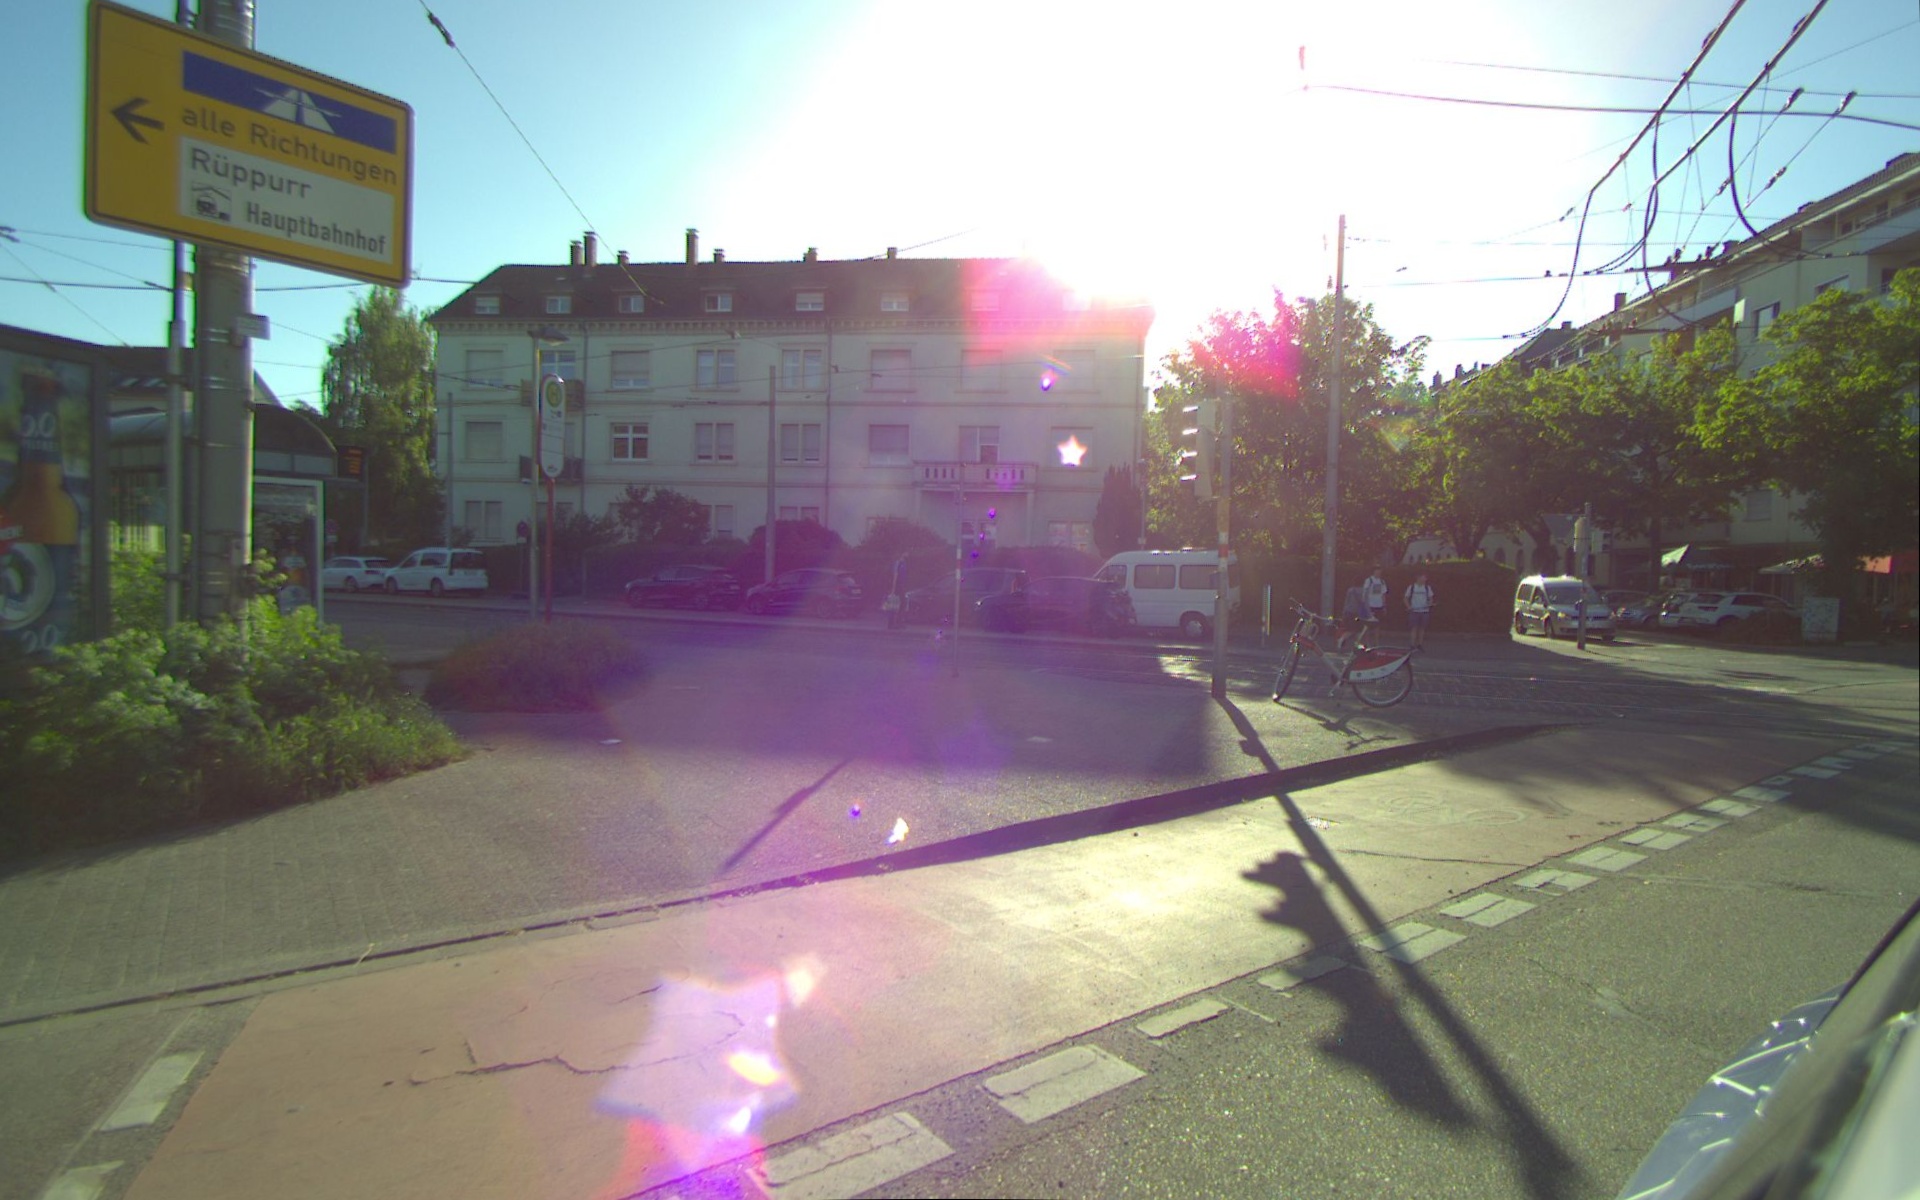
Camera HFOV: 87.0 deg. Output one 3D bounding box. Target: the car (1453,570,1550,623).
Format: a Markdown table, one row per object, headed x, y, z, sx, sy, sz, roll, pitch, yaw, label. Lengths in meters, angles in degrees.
| x | y | z | sx | sy | sz | roll | pitch | yaw | label |
| --- | --- | --- | --- | --- | --- | --- | --- | --- | --- |
| 19.904 | -0.138 | 37.407 | 1.826 | 1.829 | 4.209 | 0 | 0 | 9 | car |

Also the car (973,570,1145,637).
| x | y | z | sx | sy | sz | roll | pitch | yaw | label |
| --- | --- | --- | --- | --- | --- | --- | --- | --- | --- |
| 2.342 | 0.053 | 23.827 | 3.649 | 1.414 | 1.884 | 2 | 1 | 23 | car |

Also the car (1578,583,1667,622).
| x | y | z | sx | sy | sz | roll | pitch | yaw | label |
| --- | --- | --- | --- | --- | --- | --- | --- | --- | --- |
| 27.211 | 0.093 | 41.637 | 2.755 | 1.551 | 1.321 | 0 | 0 | 14 | car |

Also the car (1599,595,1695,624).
| x | y | z | sx | sy | sz | roll | pitch | yaw | label |
| --- | --- | --- | --- | --- | --- | --- | --- | --- | --- |
| 26.458 | 0.349 | 39.043 | 2.755 | 1.096 | 1.321 | 0 | 0 | 14 | car |

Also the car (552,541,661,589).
| x | y | z | sx | sy | sz | roll | pitch | yaw | label |
| --- | --- | --- | --- | --- | --- | --- | --- | --- | --- |
| -15.077 | -1.448 | 43.161 | 4.136 | 1.943 | 1.986 | 0 | 0 | 22 | car |

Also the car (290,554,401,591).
| x | y | z | sx | sy | sz | roll | pitch | yaw | label |
| --- | --- | --- | --- | --- | --- | --- | --- | --- | --- |
| -24.911 | -1.092 | 41.024 | 4.327 | 1.446 | 1.679 | 0 | 0 | 23 | car |

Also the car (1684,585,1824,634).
| x | y | z | sx | sy | sz | roll | pitch | yaw | label |
| --- | --- | --- | --- | --- | --- | --- | --- | --- | --- |
| 25.483 | 0.286 | 32.584 | 3.151 | 1.506 | 1.573 | 0 | 0 | 14 | car |

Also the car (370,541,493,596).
| x | y | z | sx | sy | sz | roll | pitch | yaw | label |
| --- | --- | --- | --- | --- | --- | --- | --- | --- | --- |
| -20.191 | -1.165 | 38.679 | 4.282 | 1.989 | 1.896 | 0 | 0 | 23 | car |

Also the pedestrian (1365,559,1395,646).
| x | y | z | sx | sy | sz | roll | pitch | yaw | label |
| --- | --- | --- | --- | --- | --- | --- | --- | --- | --- |
| 9.626 | 0.046 | 23.202 | 0.587 | 1.955 | 0.848 | 0 | 0 | 21 | pedestrian |

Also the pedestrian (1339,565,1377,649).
| x | y | z | sx | sy | sz | roll | pitch | yaw | label |
| --- | --- | --- | --- | --- | --- | --- | --- | --- | --- |
| 7.760 | 0.131 | 19.745 | 0.664 | 1.612 | 0.723 | 0 | 0 | 22 | pedestrian |

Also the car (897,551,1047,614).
| x | y | z | sx | sy | sz | roll | pitch | yaw | label |
| --- | --- | --- | --- | --- | --- | --- | --- | --- | --- |
| 0.352 | -0.520 | 28.387 | 3.732 | 1.623 | 1.957 | 2 | 1 | 23 | car |

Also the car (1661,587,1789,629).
| x | y | z | sx | sy | sz | roll | pitch | yaw | label |
| --- | --- | --- | --- | --- | --- | --- | --- | --- | --- |
| 26.484 | 0.253 | 35.120 | 3.151 | 1.420 | 1.573 | 0 | 0 | 14 | car |

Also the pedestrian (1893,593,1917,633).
| x | y | z | sx | sy | sz | roll | pitch | yaw | label |
| --- | --- | --- | --- | --- | --- | --- | --- | --- | --- |
| 31.375 | 0.440 | 33.610 | 0.483 | 1.293 | 0.385 | 3 | -1 | -20 | pedestrian |

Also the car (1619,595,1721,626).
| x | y | z | sx | sy | sz | roll | pitch | yaw | label |
| --- | --- | --- | --- | --- | --- | --- | --- | --- | --- |
| 26.124 | 0.367 | 37.311 | 2.755 | 1.096 | 1.321 | 0 | 0 | 14 | car |

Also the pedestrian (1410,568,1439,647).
| x | y | z | sx | sy | sz | roll | pitch | yaw | label |
| --- | --- | --- | --- | --- | --- | --- | --- | --- | --- |
| 10.436 | 0.164 | 22.762 | 0.548 | 1.758 | 0.624 | 0 | 0 | 21 | pedestrian |

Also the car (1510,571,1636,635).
| x | y | z | sx | sy | sz | roll | pitch | yaw | label |
| --- | --- | --- | --- | --- | --- | --- | --- | --- | --- |
| 18.671 | 0.068 | 31.071 | 1.826 | 1.829 | 4.209 | 0 | 0 | 9 | car |

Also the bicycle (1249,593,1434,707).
| x | y | z | sx | sy | sz | roll | pitch | yaw | label |
| --- | --- | --- | --- | --- | --- | --- | --- | --- | --- |
| 4.174 | 0.524 | 11.178 | 1.777 | 1.141 | 0.626 | 2 | 0 | 10 | bicycle |

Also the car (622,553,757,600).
| x | y | z | sx | sy | sz | roll | pitch | yaw | label |
| --- | --- | --- | --- | --- | --- | --- | --- | --- | --- |
| -8.858 | -0.736 | 33.132 | 3.936 | 1.449 | 1.957 | 0 | 0 | 23 | car |

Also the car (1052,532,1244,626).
| x | y | z | sx | sy | sz | roll | pitch | yaw | label |
| --- | --- | --- | --- | --- | --- | --- | --- | --- | --- |
| 4.808 | -0.566 | 25.828 | 4.504 | 2.204 | 1.937 | 2 | 1 | 23 | car |

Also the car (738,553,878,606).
| x | y | z | sx | sy | sz | roll | pitch | yaw | label |
| --- | --- | --- | --- | --- | --- | --- | --- | --- | --- |
| -4.618 | -0.635 | 30.837 | 3.732 | 1.485 | 1.957 | 2 | 1 | 23 | car |
